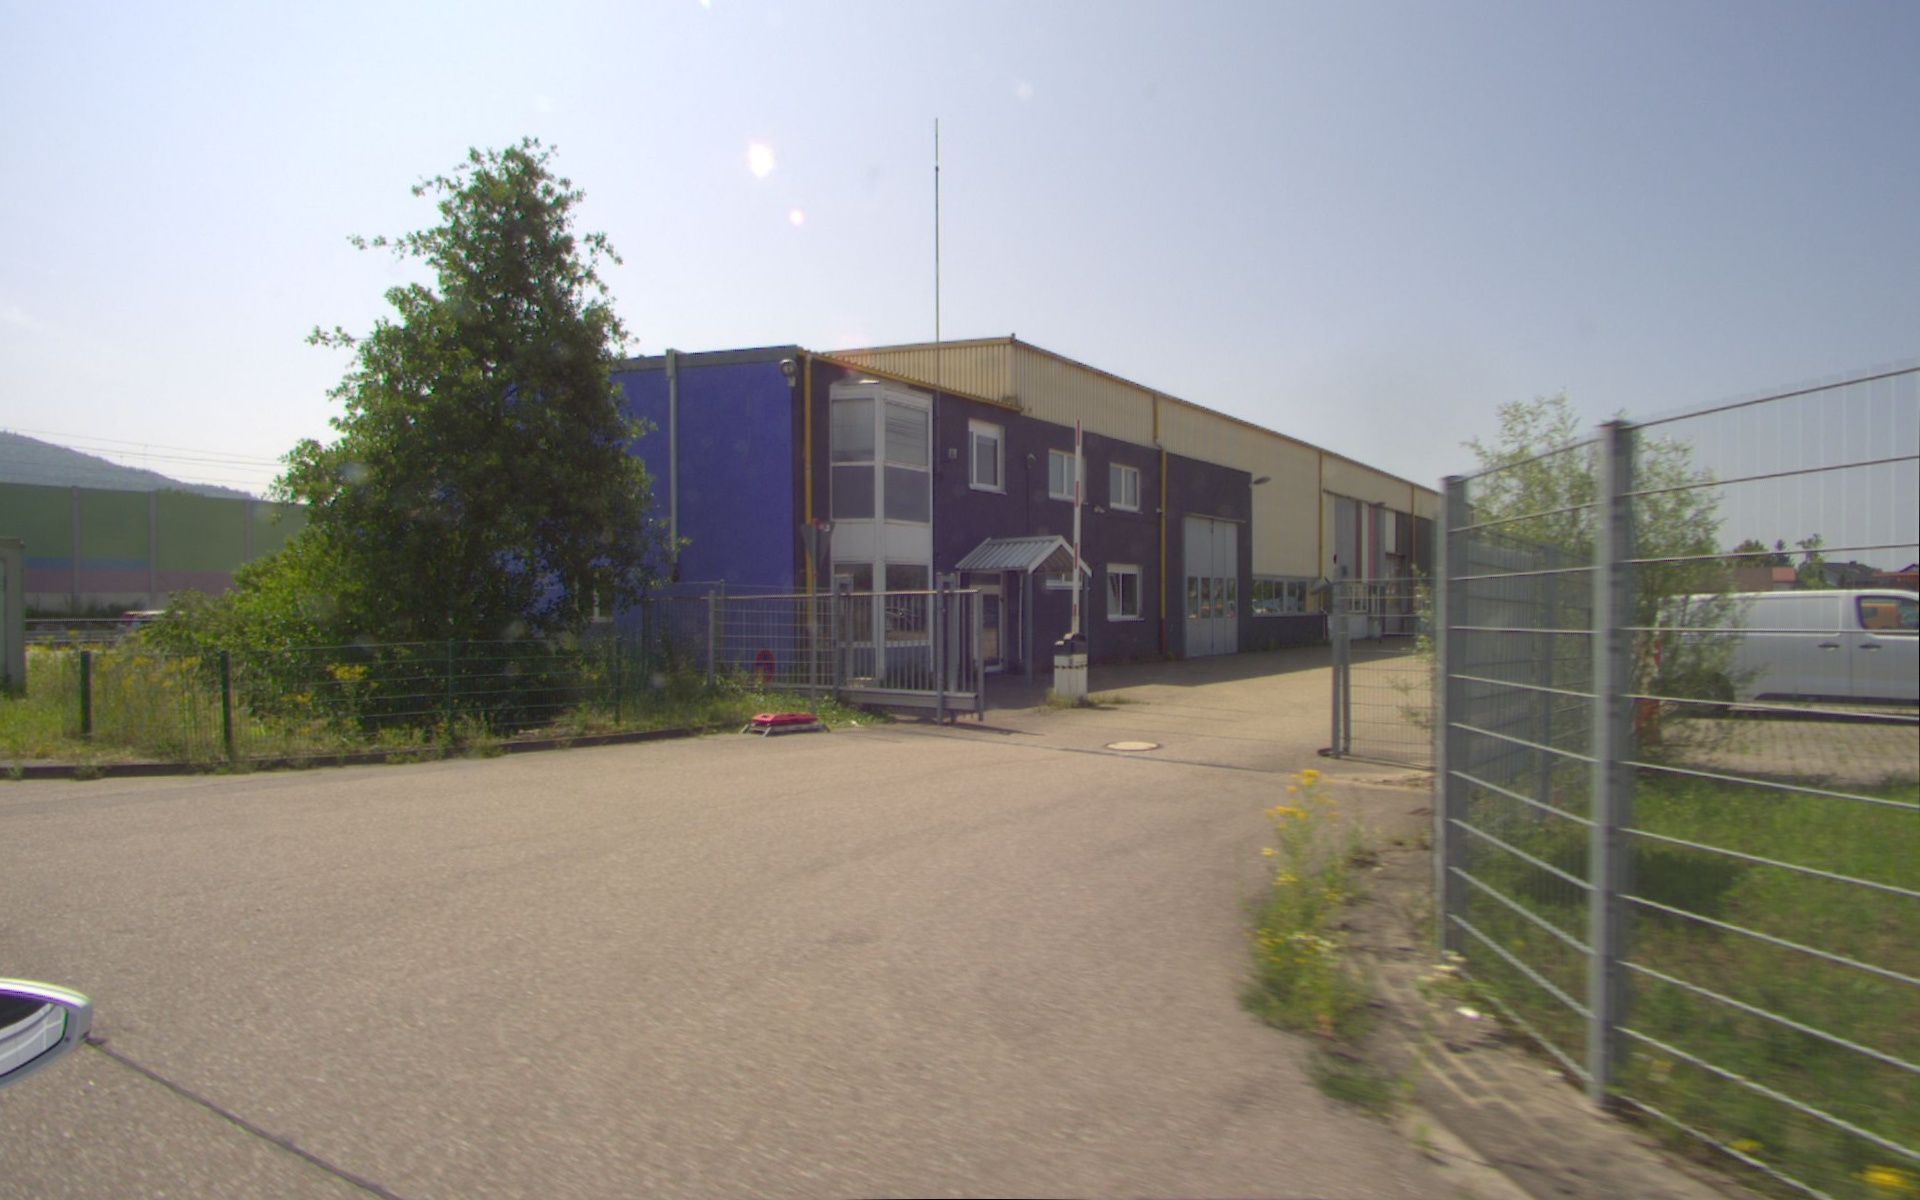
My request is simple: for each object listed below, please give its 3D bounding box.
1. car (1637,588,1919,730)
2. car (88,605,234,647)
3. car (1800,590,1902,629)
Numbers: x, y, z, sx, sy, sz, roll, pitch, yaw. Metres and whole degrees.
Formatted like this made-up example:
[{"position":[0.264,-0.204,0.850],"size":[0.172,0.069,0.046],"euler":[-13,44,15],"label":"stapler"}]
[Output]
[{"position":[13.125,0.828,14.706],"size":[5.025,1.924,1.841],"euler":[-2,-2,44],"label":"car"},{"position":[-29.914,0.948,37.558],"size":[1.976,1.512,3.970],"euler":[0,-1,39],"label":"car"},{"position":[51.656,0.557,58.199],"size":[4.338,2.200,1.958],"euler":[0,-1,41],"label":"car"}]
